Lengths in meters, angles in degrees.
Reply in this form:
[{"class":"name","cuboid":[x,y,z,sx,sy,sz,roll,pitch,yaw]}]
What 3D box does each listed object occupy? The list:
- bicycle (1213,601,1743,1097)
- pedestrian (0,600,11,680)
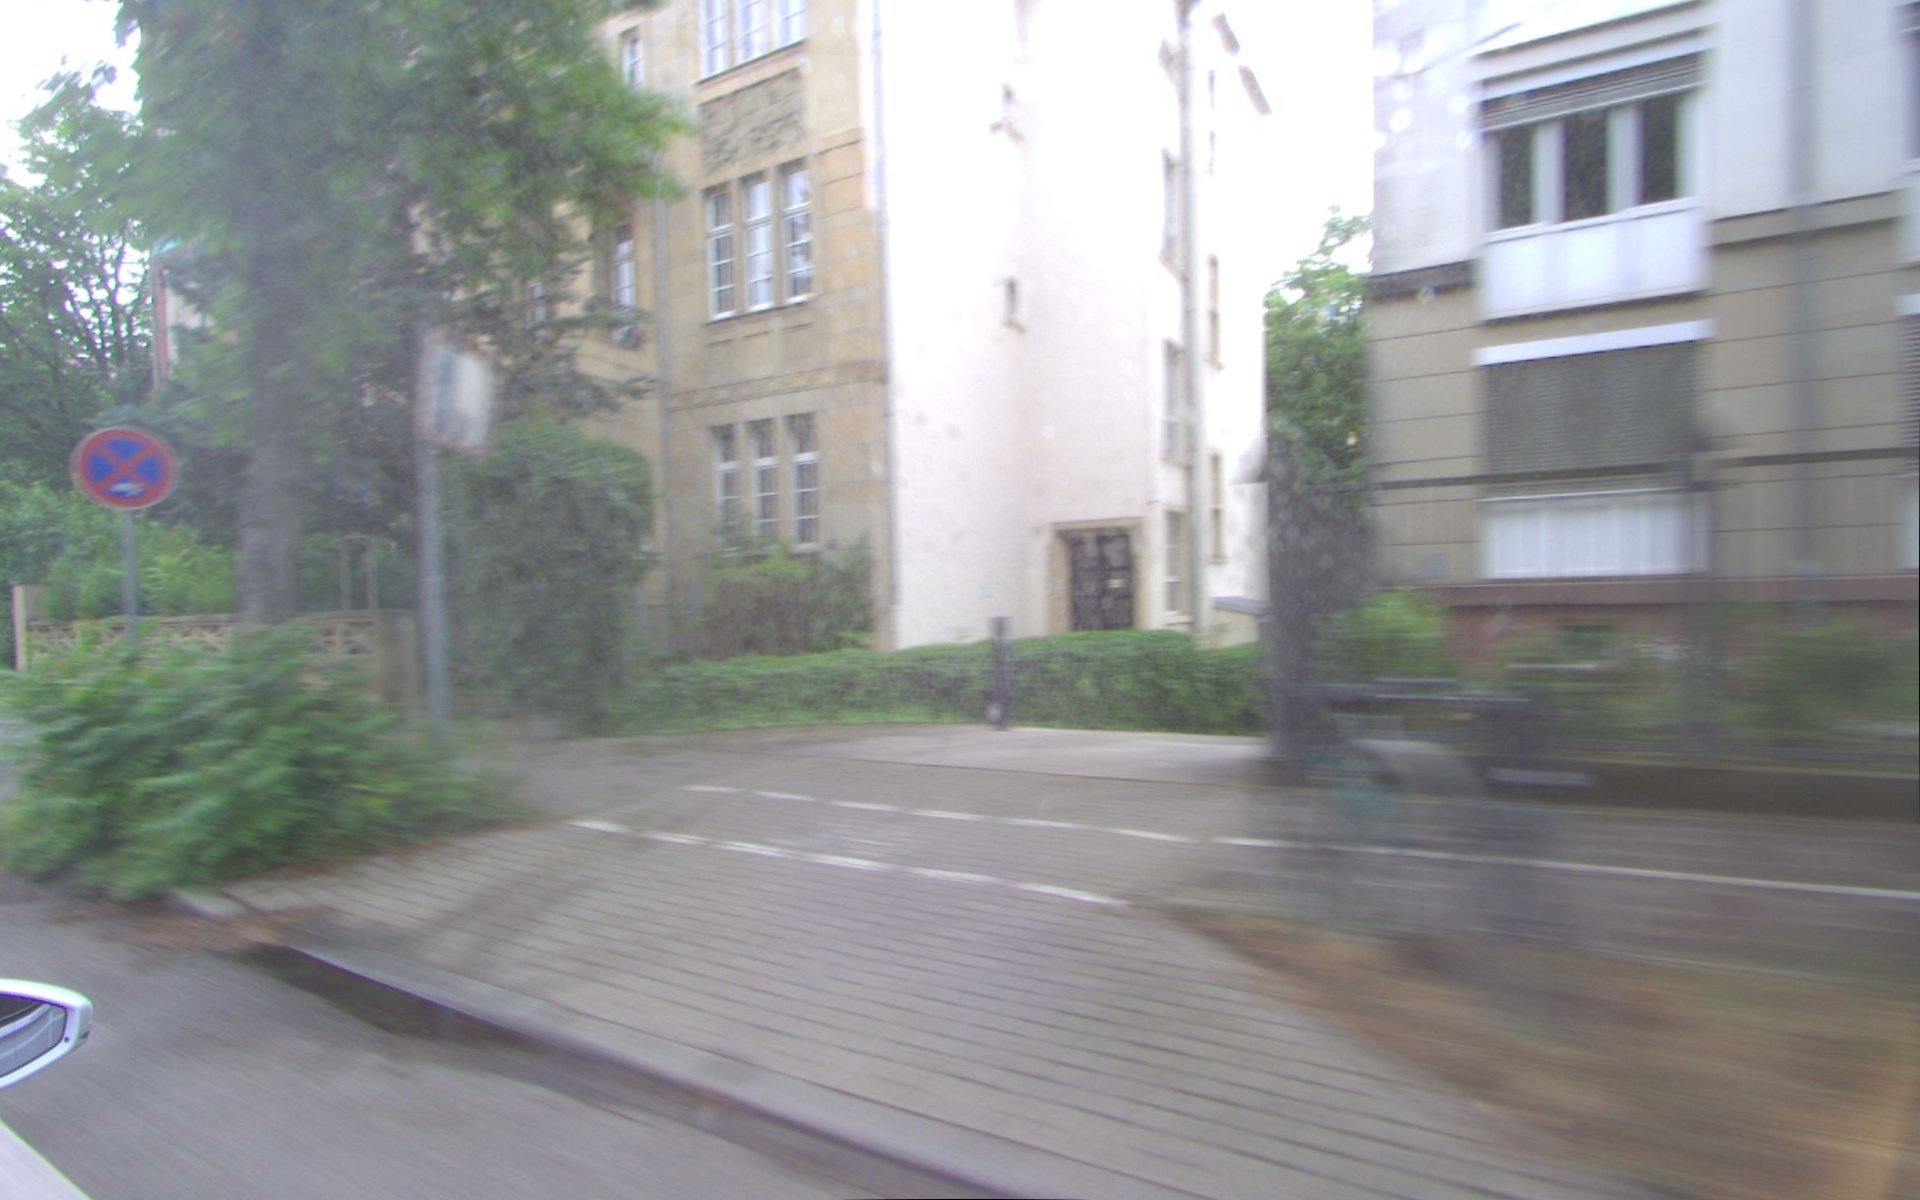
[{"class":"bicycle","cuboid":[1.554,0.635,3.442,0.425,1.214,1.902,-2,-1,-15]},{"class":"pedestrian","cuboid":[-22.803,0.941,23.273,0.785,1.855,0.652,-2,1,-11]}]
